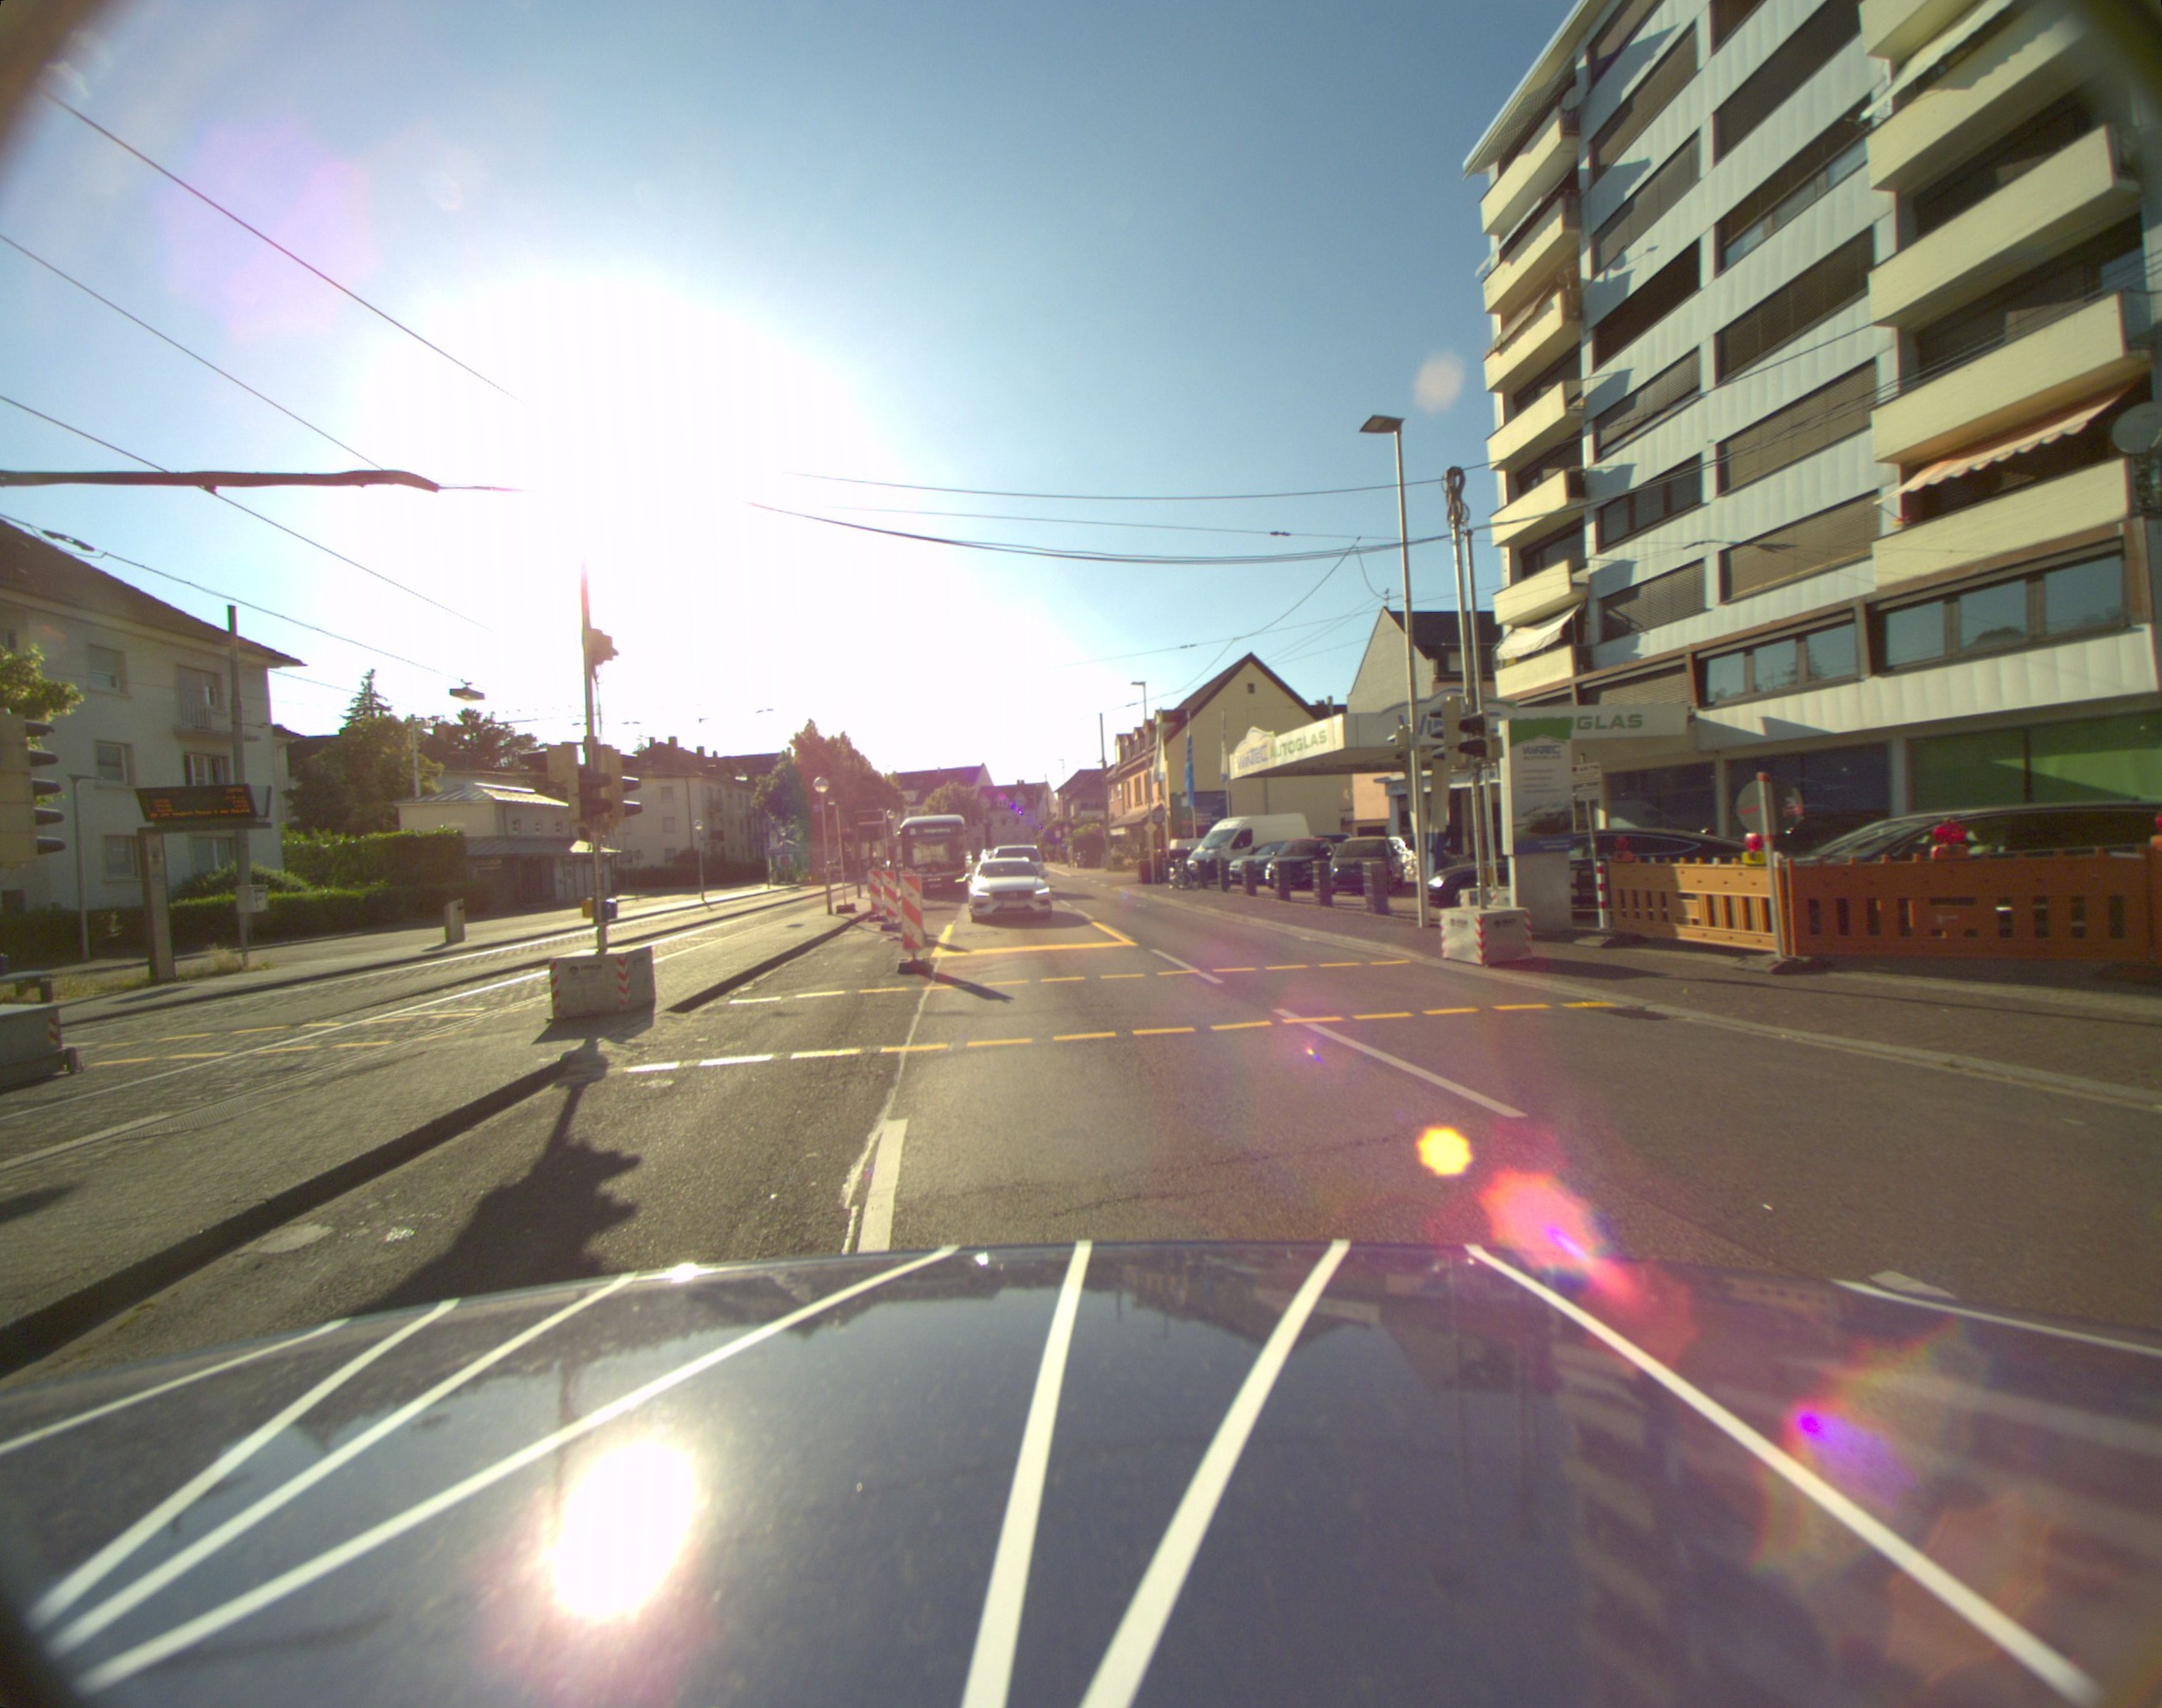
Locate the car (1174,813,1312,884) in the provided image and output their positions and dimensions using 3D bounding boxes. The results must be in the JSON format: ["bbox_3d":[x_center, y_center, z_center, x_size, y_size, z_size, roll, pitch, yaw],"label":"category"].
[{"bbox_3d":[6.357,-0.252,29.694,4.998,2.440,2.110,-3,1,-29],"label":"car"}]

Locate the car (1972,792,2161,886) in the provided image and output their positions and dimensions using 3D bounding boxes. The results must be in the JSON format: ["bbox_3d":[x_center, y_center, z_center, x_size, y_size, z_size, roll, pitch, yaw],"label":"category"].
[{"bbox_3d":[19.826,-0.299,14.279,1.723,1.664,3.628,-2,1,-9],"label":"car"}]

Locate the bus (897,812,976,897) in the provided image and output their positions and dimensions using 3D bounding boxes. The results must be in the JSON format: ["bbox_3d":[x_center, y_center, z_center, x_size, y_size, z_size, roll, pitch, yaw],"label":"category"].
[{"bbox_3d":[-6.586,-0.029,36.270,2.750,3.284,12.023,-2,1,-7],"label":"bus"}]

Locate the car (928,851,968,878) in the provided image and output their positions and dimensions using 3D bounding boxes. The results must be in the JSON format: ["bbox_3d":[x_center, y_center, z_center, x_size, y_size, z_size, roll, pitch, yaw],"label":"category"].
[{"bbox_3d":[-7.965,0.569,45.835,1.970,1.451,4.821,-2,1,-6],"label":"car"}]

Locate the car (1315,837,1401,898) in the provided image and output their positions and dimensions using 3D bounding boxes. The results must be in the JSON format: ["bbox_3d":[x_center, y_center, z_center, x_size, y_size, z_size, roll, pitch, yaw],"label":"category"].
[{"bbox_3d":[7.744,0.328,21.085,1.538,1.478,3.379,-2,1,32],"label":"car"}]

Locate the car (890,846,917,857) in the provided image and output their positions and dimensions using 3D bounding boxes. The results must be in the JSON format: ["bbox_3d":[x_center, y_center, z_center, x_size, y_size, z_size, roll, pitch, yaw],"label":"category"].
[{"bbox_3d":[-32.879,-0.429,140.906,4.587,1.846,1.743,-2,1,9],"label":"car"}]

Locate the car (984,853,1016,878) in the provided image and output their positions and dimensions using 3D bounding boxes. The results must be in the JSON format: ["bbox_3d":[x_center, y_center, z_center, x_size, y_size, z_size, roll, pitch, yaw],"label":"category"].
[{"bbox_3d":[-5.346,0.705,50.360,1.970,1.451,4.821,-2,1,-6],"label":"car"}]

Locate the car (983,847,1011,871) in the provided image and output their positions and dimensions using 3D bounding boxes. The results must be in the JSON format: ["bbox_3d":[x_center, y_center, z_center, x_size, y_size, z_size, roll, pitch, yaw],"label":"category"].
[{"bbox_3d":[-6.431,0.347,58.381,1.970,1.694,4.821,-2,1,-6],"label":"car"}]

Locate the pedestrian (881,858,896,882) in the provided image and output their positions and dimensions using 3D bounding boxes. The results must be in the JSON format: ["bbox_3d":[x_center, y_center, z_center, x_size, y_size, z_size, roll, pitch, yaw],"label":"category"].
[{"bbox_3d":[-11.482,0.947,45.242,0.658,1.373,0.580,-2,1,4],"label":"pedestrian"}]

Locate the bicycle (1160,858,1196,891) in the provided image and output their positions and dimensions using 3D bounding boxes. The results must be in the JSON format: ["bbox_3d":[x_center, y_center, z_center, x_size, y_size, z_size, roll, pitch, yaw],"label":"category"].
[{"bbox_3d":[3.408,0.700,26.879,0.725,1.080,1.790,-3,1,-10],"label":"bicycle"}]

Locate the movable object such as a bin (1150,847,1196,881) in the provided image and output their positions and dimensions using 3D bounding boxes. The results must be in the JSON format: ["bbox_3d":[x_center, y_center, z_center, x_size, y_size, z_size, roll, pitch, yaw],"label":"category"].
[{"bbox_3d":[4.205,0.455,34.625,1.798,1.456,1.046,-3,2,-32],"label":"movable object such as a bin"}]

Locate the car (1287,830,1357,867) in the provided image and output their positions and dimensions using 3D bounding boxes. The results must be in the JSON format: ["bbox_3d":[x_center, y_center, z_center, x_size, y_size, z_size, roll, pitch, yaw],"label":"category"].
[{"bbox_3d":[14.282,-0.322,45.075,3.674,2.002,1.450,-2,1,-9],"label":"car"}]

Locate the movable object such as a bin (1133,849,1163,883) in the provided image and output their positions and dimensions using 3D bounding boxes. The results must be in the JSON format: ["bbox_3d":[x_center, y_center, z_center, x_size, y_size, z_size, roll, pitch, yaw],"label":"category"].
[{"bbox_3d":[2.971,0.519,33.507,1.046,1.456,0.797,-1,2,25],"label":"movable object such as a bin"}]

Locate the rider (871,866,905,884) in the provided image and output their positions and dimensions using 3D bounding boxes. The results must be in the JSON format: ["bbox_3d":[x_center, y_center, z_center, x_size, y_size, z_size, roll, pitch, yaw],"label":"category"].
[{"bbox_3d":[-11.479,1.251,45.259,1.856,0.986,0.580,-2,1,3],"label":"rider"}]

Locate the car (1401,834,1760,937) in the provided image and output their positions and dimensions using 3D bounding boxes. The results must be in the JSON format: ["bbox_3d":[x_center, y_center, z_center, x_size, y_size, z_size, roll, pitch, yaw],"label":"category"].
[{"bbox_3d":[8.034,0.458,12.650,4.676,1.430,1.936,-1,1,35],"label":"car"}]

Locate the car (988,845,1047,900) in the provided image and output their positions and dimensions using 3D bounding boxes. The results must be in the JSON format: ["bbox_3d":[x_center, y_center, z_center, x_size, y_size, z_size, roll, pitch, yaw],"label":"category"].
[{"bbox_3d":[-2.455,0.618,28.891,1.970,1.816,5.030,-2,1,-6],"label":"car"}]

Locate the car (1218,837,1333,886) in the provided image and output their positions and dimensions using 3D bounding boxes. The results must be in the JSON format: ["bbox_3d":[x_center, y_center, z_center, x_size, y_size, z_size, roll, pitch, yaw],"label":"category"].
[{"bbox_3d":[7.005,0.244,27.207,4.037,1.488,1.738,-3,1,-35],"label":"car"}]

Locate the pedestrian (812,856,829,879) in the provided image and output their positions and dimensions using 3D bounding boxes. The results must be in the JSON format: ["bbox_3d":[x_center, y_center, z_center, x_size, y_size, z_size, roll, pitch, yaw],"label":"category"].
[{"bbox_3d":[-19.082,0.978,55.698,0.826,1.601,0.840,-3,2,-41],"label":"pedestrian"}]

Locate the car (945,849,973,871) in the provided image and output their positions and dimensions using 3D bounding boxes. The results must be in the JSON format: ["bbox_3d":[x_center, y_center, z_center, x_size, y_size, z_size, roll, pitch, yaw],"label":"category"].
[{"bbox_3d":[-10.001,0.462,62.483,1.970,1.694,4.821,-2,1,-6],"label":"car"}]

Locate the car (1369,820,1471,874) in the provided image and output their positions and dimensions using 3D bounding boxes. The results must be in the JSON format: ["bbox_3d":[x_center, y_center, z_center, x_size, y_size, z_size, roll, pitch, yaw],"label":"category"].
[{"bbox_3d":[13.619,-0.294,30.793,1.743,1.933,4.255,-3,1,-7],"label":"car"}]

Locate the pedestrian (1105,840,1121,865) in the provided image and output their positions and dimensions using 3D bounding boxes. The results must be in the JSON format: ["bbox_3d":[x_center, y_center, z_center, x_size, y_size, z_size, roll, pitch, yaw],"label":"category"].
[{"bbox_3d":[2.176,-0.091,52.296,0.810,1.703,0.858,-3,2,-15],"label":"pedestrian"}]

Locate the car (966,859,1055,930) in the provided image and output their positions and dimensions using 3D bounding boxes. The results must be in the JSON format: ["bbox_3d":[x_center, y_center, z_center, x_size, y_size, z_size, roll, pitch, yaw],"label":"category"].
[{"bbox_3d":[-1.851,0.891,18.680,1.822,1.446,4.213,-2,1,-10],"label":"car"}]

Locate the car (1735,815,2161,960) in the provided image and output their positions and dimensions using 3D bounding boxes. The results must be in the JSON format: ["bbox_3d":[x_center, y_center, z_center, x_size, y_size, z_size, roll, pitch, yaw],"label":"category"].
[{"bbox_3d":[10.084,0.334,8.492,3.875,1.430,1.598,-1,1,20],"label":"car"}]

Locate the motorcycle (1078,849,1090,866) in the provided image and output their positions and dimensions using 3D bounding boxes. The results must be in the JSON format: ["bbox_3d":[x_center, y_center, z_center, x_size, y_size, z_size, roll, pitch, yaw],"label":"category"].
[{"bbox_3d":[0.216,0.265,57.503,0.709,1.210,2.185,-2,1,-4],"label":"motorcycle"}]

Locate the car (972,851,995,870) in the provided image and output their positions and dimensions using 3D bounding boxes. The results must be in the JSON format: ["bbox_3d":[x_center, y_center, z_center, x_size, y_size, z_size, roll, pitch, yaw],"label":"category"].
[{"bbox_3d":[-9.206,0.566,71.859,1.970,1.694,4.821,-2,1,-6],"label":"car"}]

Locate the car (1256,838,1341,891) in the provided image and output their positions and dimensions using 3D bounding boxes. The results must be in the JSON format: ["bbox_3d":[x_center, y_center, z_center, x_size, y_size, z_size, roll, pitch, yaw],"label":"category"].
[{"bbox_3d":[6.956,0.301,24.135,1.591,1.488,3.441,-2,1,33],"label":"car"}]

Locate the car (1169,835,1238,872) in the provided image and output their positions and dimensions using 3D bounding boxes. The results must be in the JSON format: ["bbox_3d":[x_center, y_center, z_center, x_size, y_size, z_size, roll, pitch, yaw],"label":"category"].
[{"bbox_3d":[7.080,-0.039,44.035,3.674,2.002,1.450,-2,1,-9],"label":"car"}]
